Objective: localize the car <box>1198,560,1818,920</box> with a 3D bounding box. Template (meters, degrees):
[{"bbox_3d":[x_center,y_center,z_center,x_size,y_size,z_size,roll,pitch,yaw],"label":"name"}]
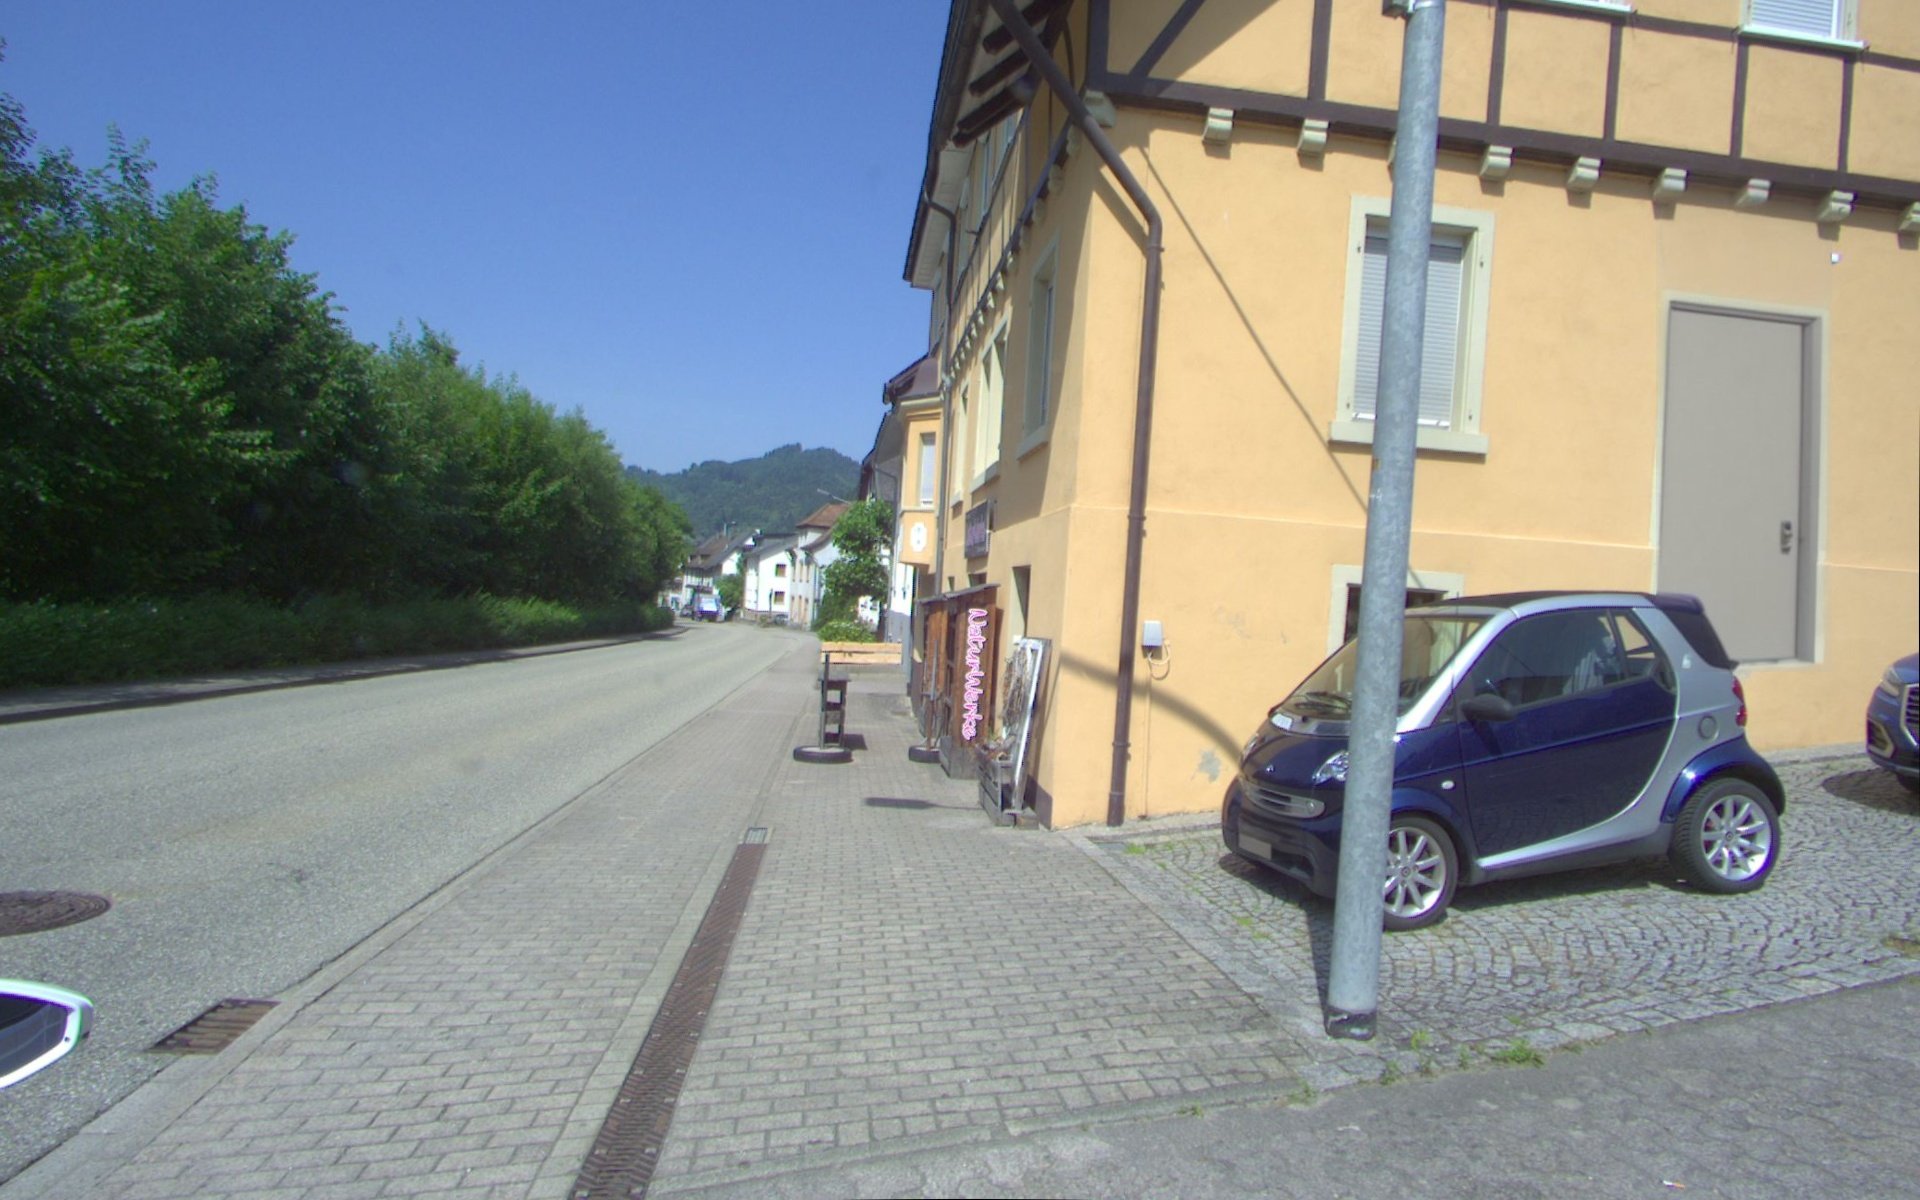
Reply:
[{"bbox_3d":[2.851,0.646,5.468,2.612,1.556,1.425,-2,-1,-11],"label":"car"}]

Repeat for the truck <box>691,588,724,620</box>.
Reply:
[{"bbox_3d":[-31.583,0.569,124.924,3.315,3.830,8.425,0,-2,-18],"label":"truck"}]

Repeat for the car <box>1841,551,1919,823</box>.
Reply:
[{"bbox_3d":[7.789,0.518,6.063,3.862,1.647,1.733,0,0,-12],"label":"car"}]

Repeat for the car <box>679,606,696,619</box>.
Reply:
[{"bbox_3d":[-39.624,1.851,145.646,1.967,1.906,3.989,0,-2,-22],"label":"car"}]
